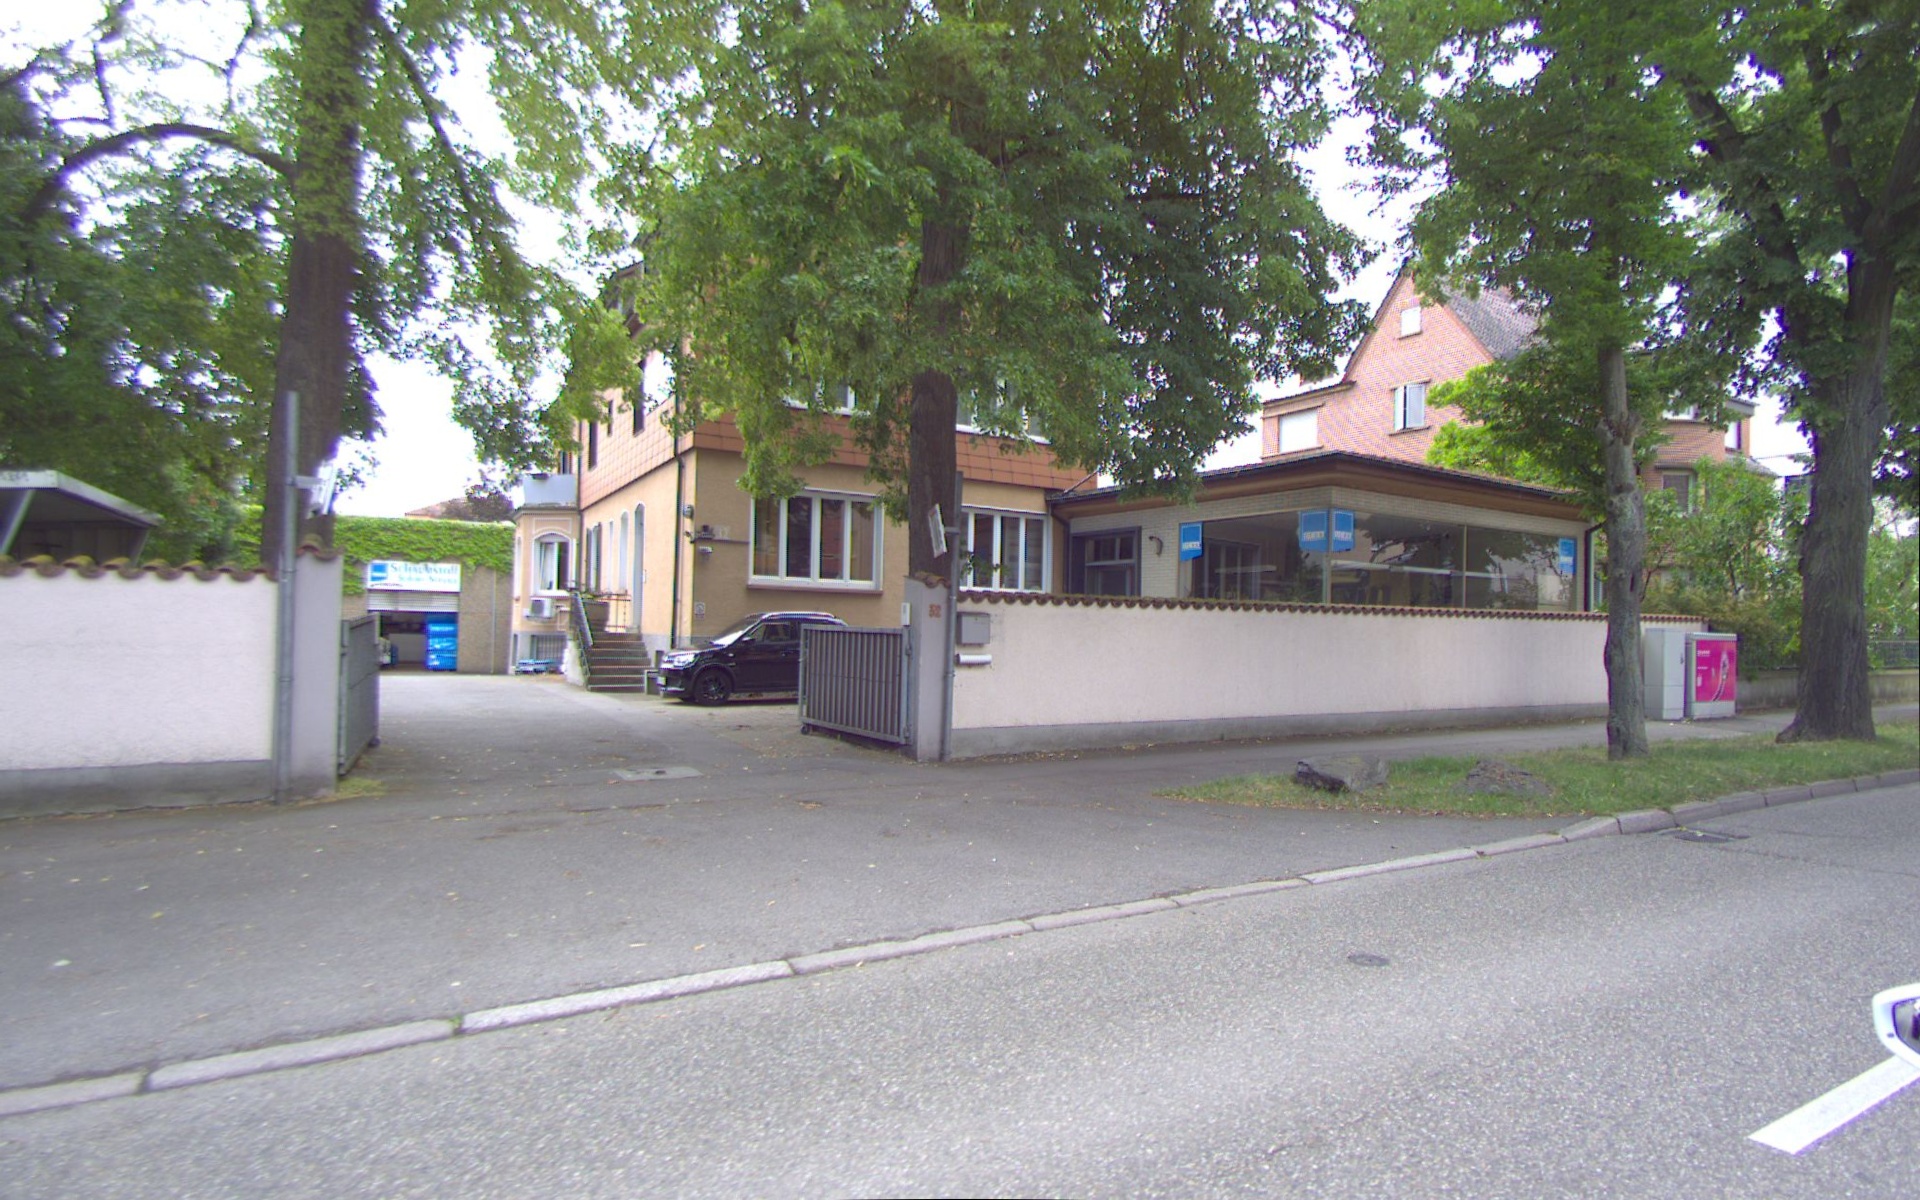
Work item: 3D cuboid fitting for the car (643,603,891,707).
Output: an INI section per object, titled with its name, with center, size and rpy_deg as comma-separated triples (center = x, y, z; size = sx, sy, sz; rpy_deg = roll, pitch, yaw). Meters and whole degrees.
[car]
center = -3.404, 0.953, 17.908
size = 3.955, 1.661, 1.771
rpy_deg = 2, -1, -31
